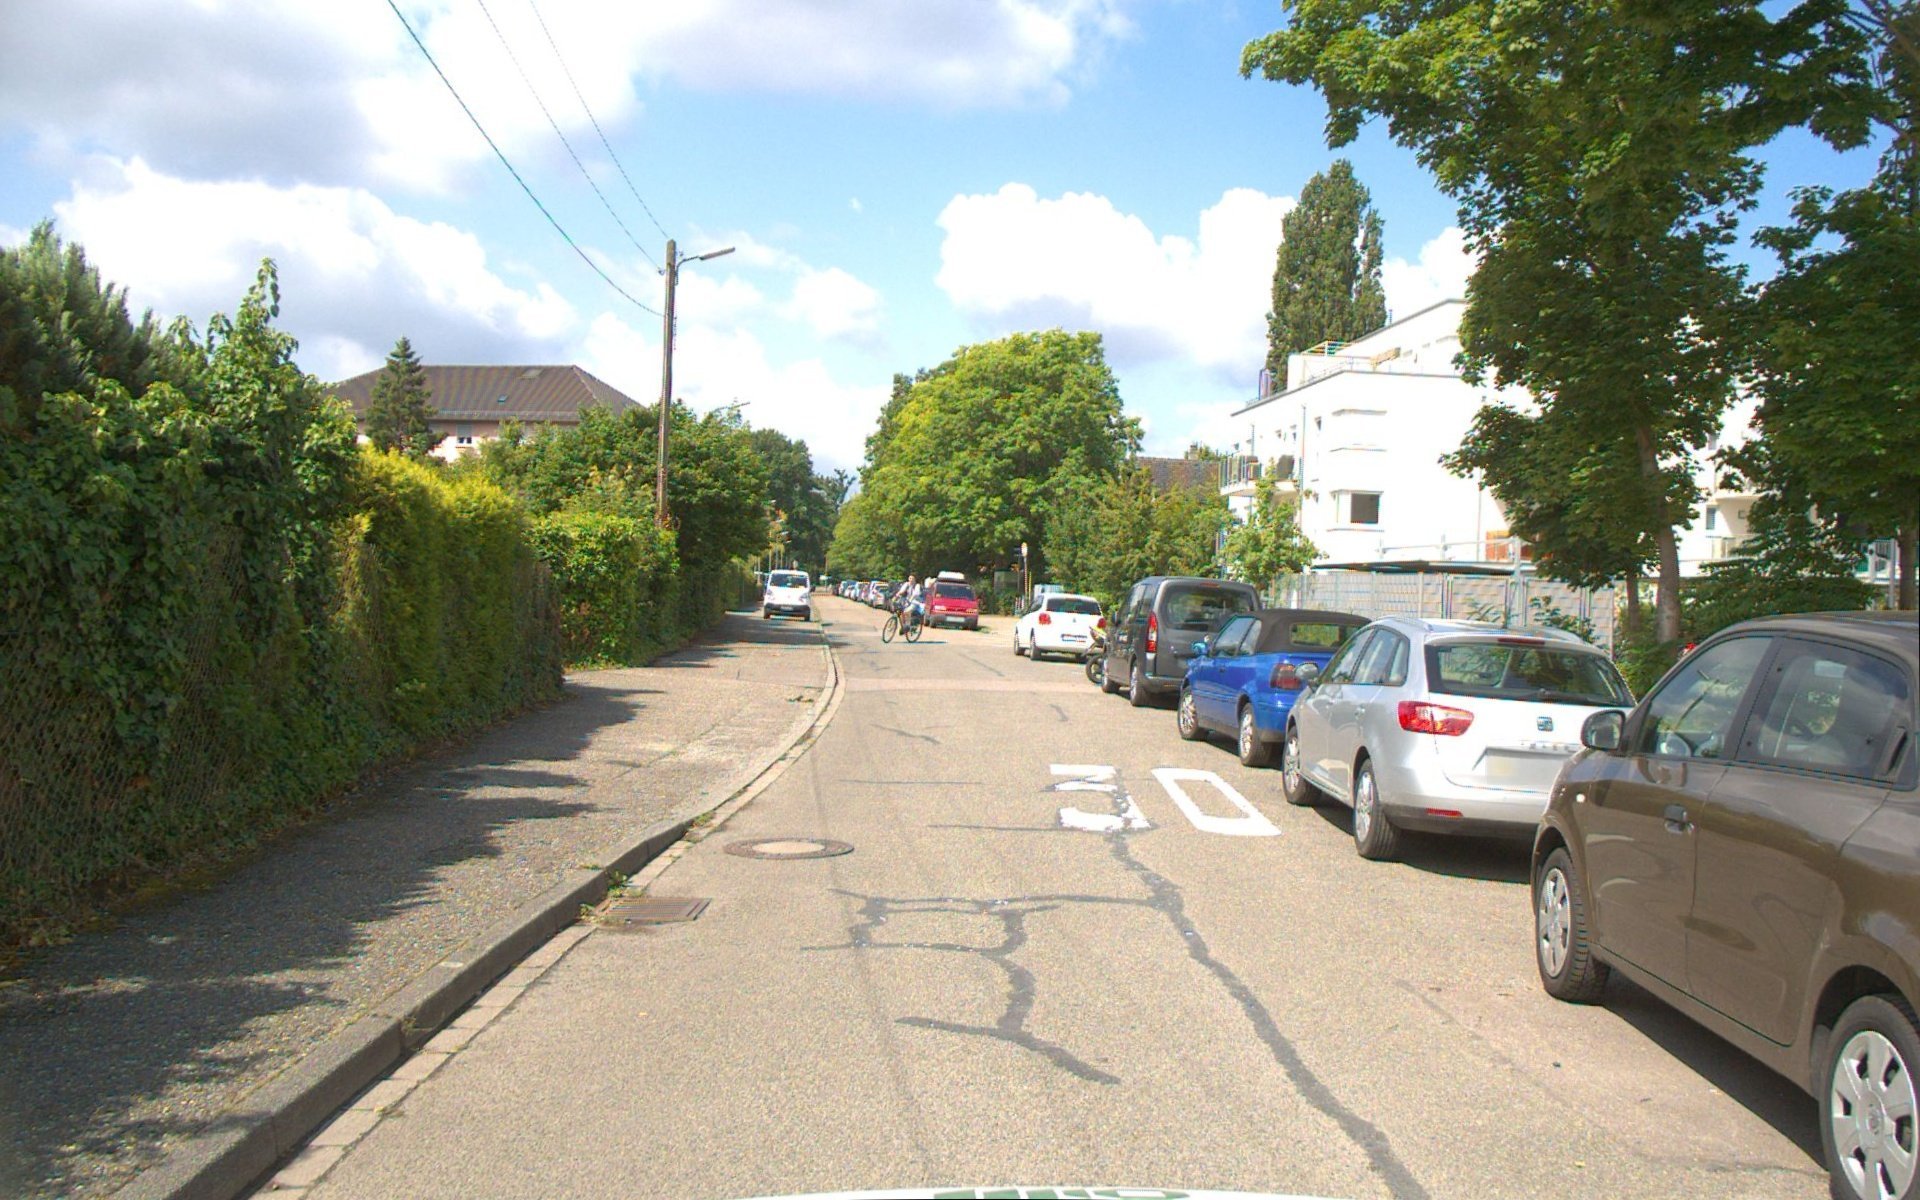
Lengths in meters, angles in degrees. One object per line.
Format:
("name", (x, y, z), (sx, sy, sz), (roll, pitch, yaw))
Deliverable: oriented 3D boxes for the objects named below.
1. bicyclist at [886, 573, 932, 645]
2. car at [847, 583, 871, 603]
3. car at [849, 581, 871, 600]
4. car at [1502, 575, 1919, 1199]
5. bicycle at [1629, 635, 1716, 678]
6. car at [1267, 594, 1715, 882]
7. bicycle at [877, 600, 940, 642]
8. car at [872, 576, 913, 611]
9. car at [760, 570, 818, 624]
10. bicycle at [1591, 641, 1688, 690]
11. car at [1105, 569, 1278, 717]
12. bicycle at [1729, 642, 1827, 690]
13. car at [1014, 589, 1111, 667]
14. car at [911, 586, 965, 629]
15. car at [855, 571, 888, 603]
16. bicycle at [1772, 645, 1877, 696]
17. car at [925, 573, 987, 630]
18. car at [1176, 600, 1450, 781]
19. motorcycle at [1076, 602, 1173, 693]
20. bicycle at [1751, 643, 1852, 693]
("bicyclist", (-1.333, 0.233, 43.260), (0.770, 1.816, 0.893), (3, 0, 27))
("car", (-8.573, -0.579, 141.068), (1.814, 1.646, 3.999), (2, 0, -1))
("car", (-9.404, -0.869, 155.867), (1.814, 1.646, 3.999), (3, 0, -1))
("car", (3.140, 0.772, 5.307), (1.629, 1.579, 3.638), (3, 0, 2))
("bicycle", (18.859, 1.494, 43.784), (2.006, 1.098, 0.688), (0, 0, -2))
("car", (3.229, 0.744, 10.833), (1.630, 1.464, 3.743), (3, 0, -1))
("bicycle", (-1.331, 0.563, 43.307), (0.842, 1.044, 1.818), (3, 0, 27))
("car", (-3.539, -0.337, 86.357), (2.017, 1.681, 4.538), (3, 0, -3))
("car", (-6.336, -0.111, 61.584), (1.865, 1.845, 3.998), (3, 0, -3))
("bicycle", (15.979, 1.530, 38.912), (2.006, 1.098, 0.688), (0, 0, -2))
("car", (3.183, 0.554, 23.376), (1.836, 1.837, 3.432), (3, 0, -1))
("bicycle", (19.420, 1.559, 39.288), (2.006, 1.098, 0.688), (0, 0, -2))
("car", (2.225, 0.577, 36.746), (1.645, 1.545, 3.998), (3, 0, -3))
("car", (-0.964, 0.291, 69.926), (2.017, 1.681, 4.538), (3, 0, -3))
("car", (-5.970, -0.859, 111.771), (2.017, 1.995, 4.538), (3, 0, -3))
("bicycle", (19.469, 1.581, 37.268), (2.006, 1.098, 0.688), (0, 0, -2))
("car", (-0.203, 0.033, 62.224), (2.017, 1.959, 4.538), (3, 0, -3))
("car", (3.311, 0.788, 16.165), (1.631, 1.460, 3.538), (3, 0, -4))
("motorcycle", (2.681, 0.763, 27.075), (1.399, 1.385, 0.868), (3, 0, -4))
("bicycle", (19.527, 1.577, 38.414), (2.006, 1.098, 0.688), (0, 0, -2))
